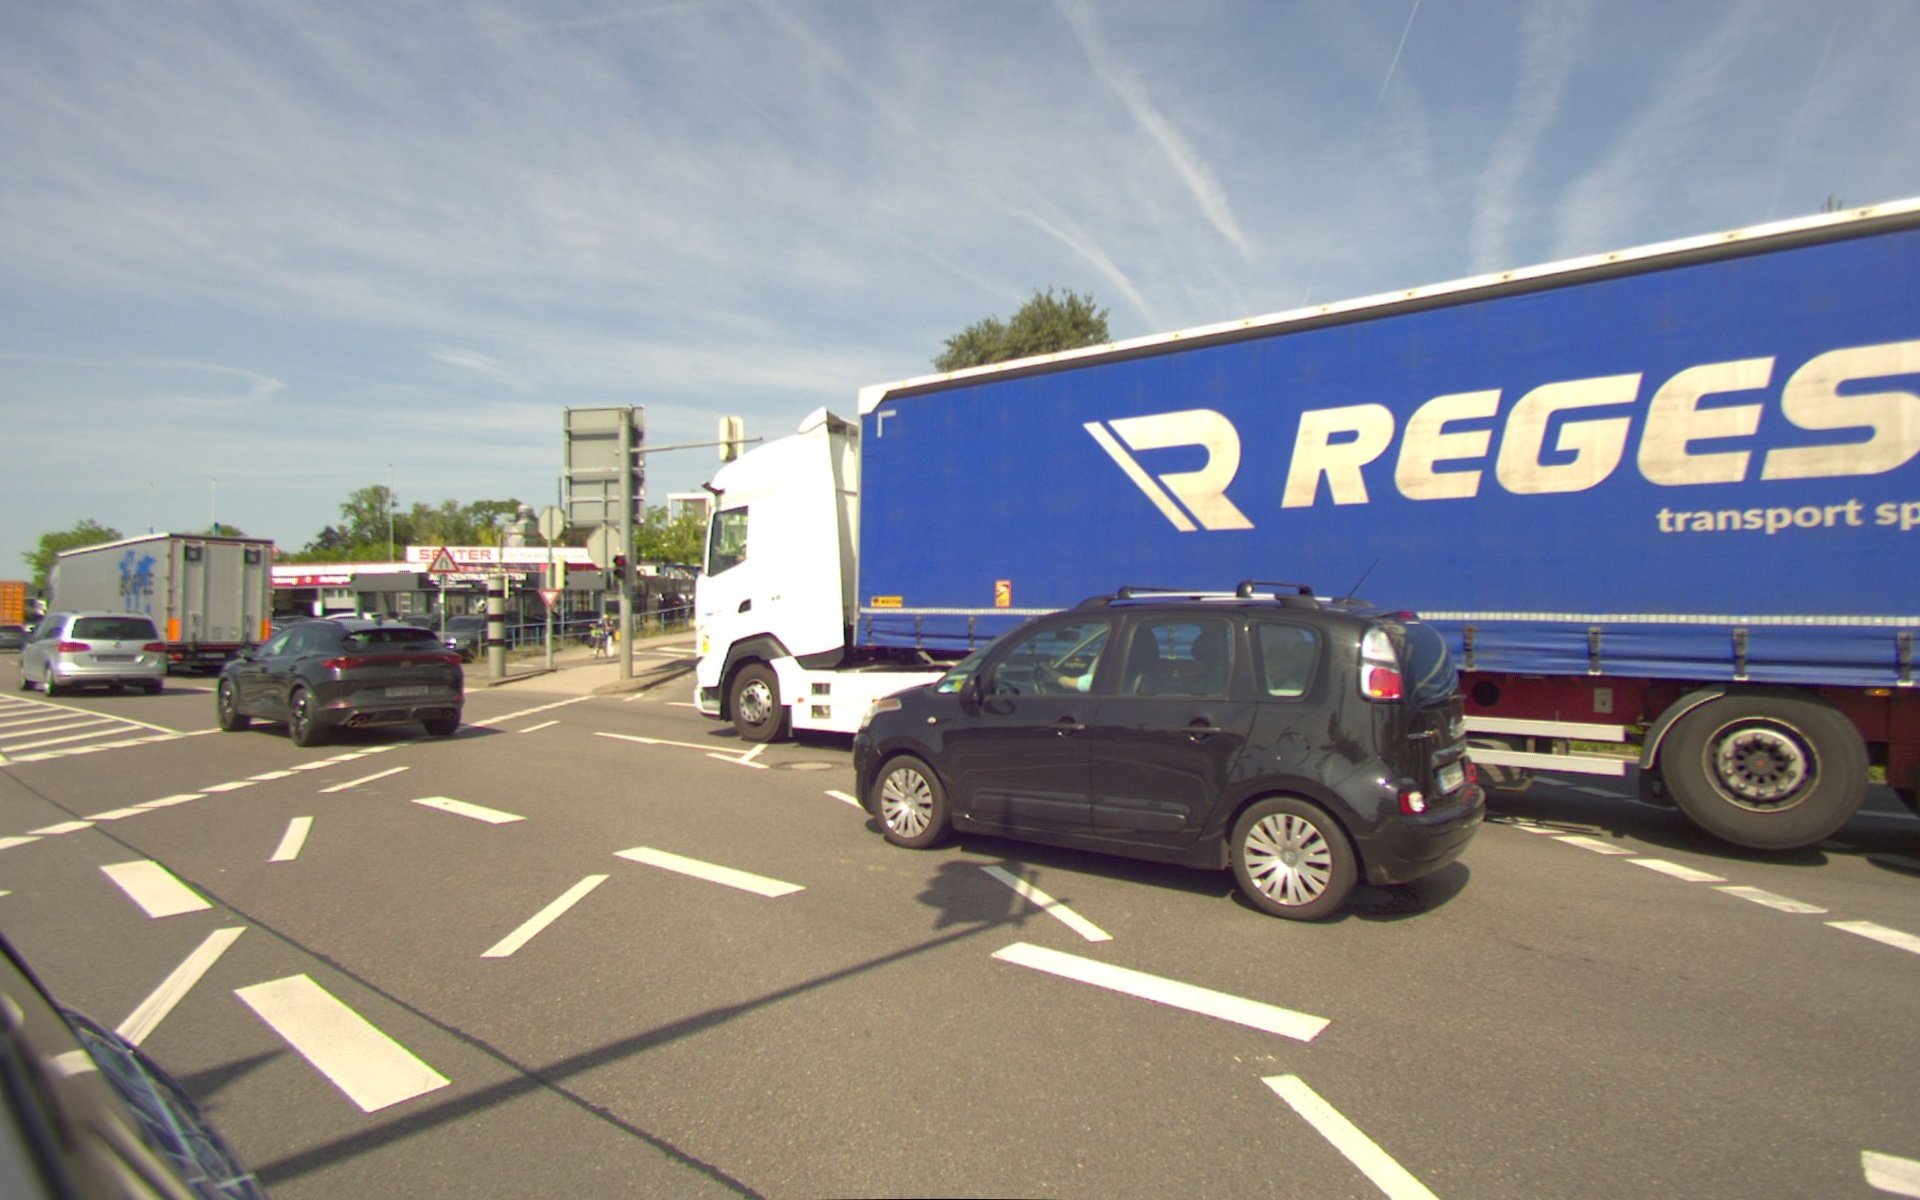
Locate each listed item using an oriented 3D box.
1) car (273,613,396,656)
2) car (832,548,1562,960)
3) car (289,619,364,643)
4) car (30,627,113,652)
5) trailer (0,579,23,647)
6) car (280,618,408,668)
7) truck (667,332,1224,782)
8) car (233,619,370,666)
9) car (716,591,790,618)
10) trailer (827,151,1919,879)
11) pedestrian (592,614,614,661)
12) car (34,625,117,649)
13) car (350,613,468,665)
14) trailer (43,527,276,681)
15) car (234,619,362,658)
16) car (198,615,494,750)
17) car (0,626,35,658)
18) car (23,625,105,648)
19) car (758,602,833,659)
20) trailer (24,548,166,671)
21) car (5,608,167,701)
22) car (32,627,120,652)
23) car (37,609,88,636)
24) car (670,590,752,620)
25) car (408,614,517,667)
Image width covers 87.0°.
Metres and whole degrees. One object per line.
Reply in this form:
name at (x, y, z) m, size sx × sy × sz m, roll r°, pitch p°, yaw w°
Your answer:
car at (-28.511, 1.548, 46.207) m, size 4.404 × 1.762 × 1.894 m, roll -2°, pitch 0°, yaw -2°
car at (1.304, 0.695, 6.322) m, size 3.995 × 1.739 × 1.974 m, roll -1°, pitch -2°, yaw 39°
car at (-43.791, 2.144, 70.049) m, size 1.978 × 1.619 × 3.965 m, roll -1°, pitch -1°, yaw 26°
car at (-56.747, 2.516, 64.655) m, size 1.949 × 1.511 × 3.825 m, roll -1°, pitch -2°, yaw 43°
trailer at (-61.939, 0.847, 63.959) m, size 12.229 × 4.029 × 2.692 m, roll -1°, pitch -2°, yaw 41°
car at (-23.233, 1.561, 38.412) m, size 1.928 × 1.524 × 4.715 m, roll -1°, pitch 2°, yaw 1°
truck at (-0.390, -0.323, 12.475) m, size 6.339 × 4.111 × 3.156 m, roll -1°, pitch -2°, yaw 39°
car at (-25.600, 1.597, 39.584) m, size 1.871 × 1.486 × 4.706 m, roll -1°, pitch 2°, yaw 8°
car at (-12.243, 0.256, 60.017) m, size 4.012 × 1.574 × 2.001 m, roll 0°, pitch 1°, yaw -1°
trailer at (4.908, -0.431, 8.099) m, size 14.113 × 4.111 × 3.062 m, roll -1°, pitch -2°, yaw 40°
pedestrian at (-12.160, 1.284, 34.442) m, size 0.489 × 1.546 × 0.384 m, roll -4°, pitch 2°, yaw 2°
car at (-58.270, 2.408, 66.694) m, size 1.756 × 1.493 × 3.942 m, roll -1°, pitch -2°, yaw 44°
car at (-20.893, 1.421, 38.652) m, size 1.905 × 1.638 × 4.797 m, roll 0°, pitch 2°, yaw 0°
trailer at (-26.266, 0.237, 32.758) m, size 13.859 × 4.179 × 2.666 m, roll -1°, pitch -2°, yaw 38°
car at (-28.534, 1.660, 43.710) m, size 4.278 × 1.498 × 1.801 m, roll -2°, pitch 0°, yaw -6°
car at (-8.238, 0.971, 13.434) m, size 4.449 × 1.496 × 1.974 m, roll -1°, pitch -2°, yaw 39°
car at (-48.672, 2.145, 51.750) m, size 1.898 × 1.614 × 4.593 m, roll 3°, pitch -4°, yaw -43°
car at (-60.637, 2.457, 68.551) m, size 1.738 × 1.504 × 3.924 m, roll -1°, pitch -2°, yaw 39°
car at (-5.227, 0.919, 32.670) m, size 1.887 × 1.538 × 4.640 m, roll -1°, pitch 2°, yaw -3°
trailer at (-31.625, 0.375, 36.936) m, size 6.170 × 4.136 × 2.621 m, roll -1°, pitch -2°, yaw 37°
car at (-18.535, 1.095, 21.383) m, size 4.584 × 1.746 × 1.825 m, roll -2°, pitch -1°, yaw 39°
car at (-55.234, 2.453, 63.256) m, size 1.946 × 1.463 × 3.944 m, roll -1°, pitch -2°, yaw 42°
car at (-86.579, 2.179, 97.707) m, size 2.399 × 2.563 × 6.060 m, roll 0°, pitch -1°, yaw -29°
car at (-13.455, 0.237, 54.891) m, size 4.012 × 1.574 × 2.001 m, roll 0°, pitch 1°, yaw -1°
car at (-18.515, 1.460, 37.933) m, size 1.862 × 1.638 × 4.745 m, roll -1°, pitch 2°, yaw -2°
